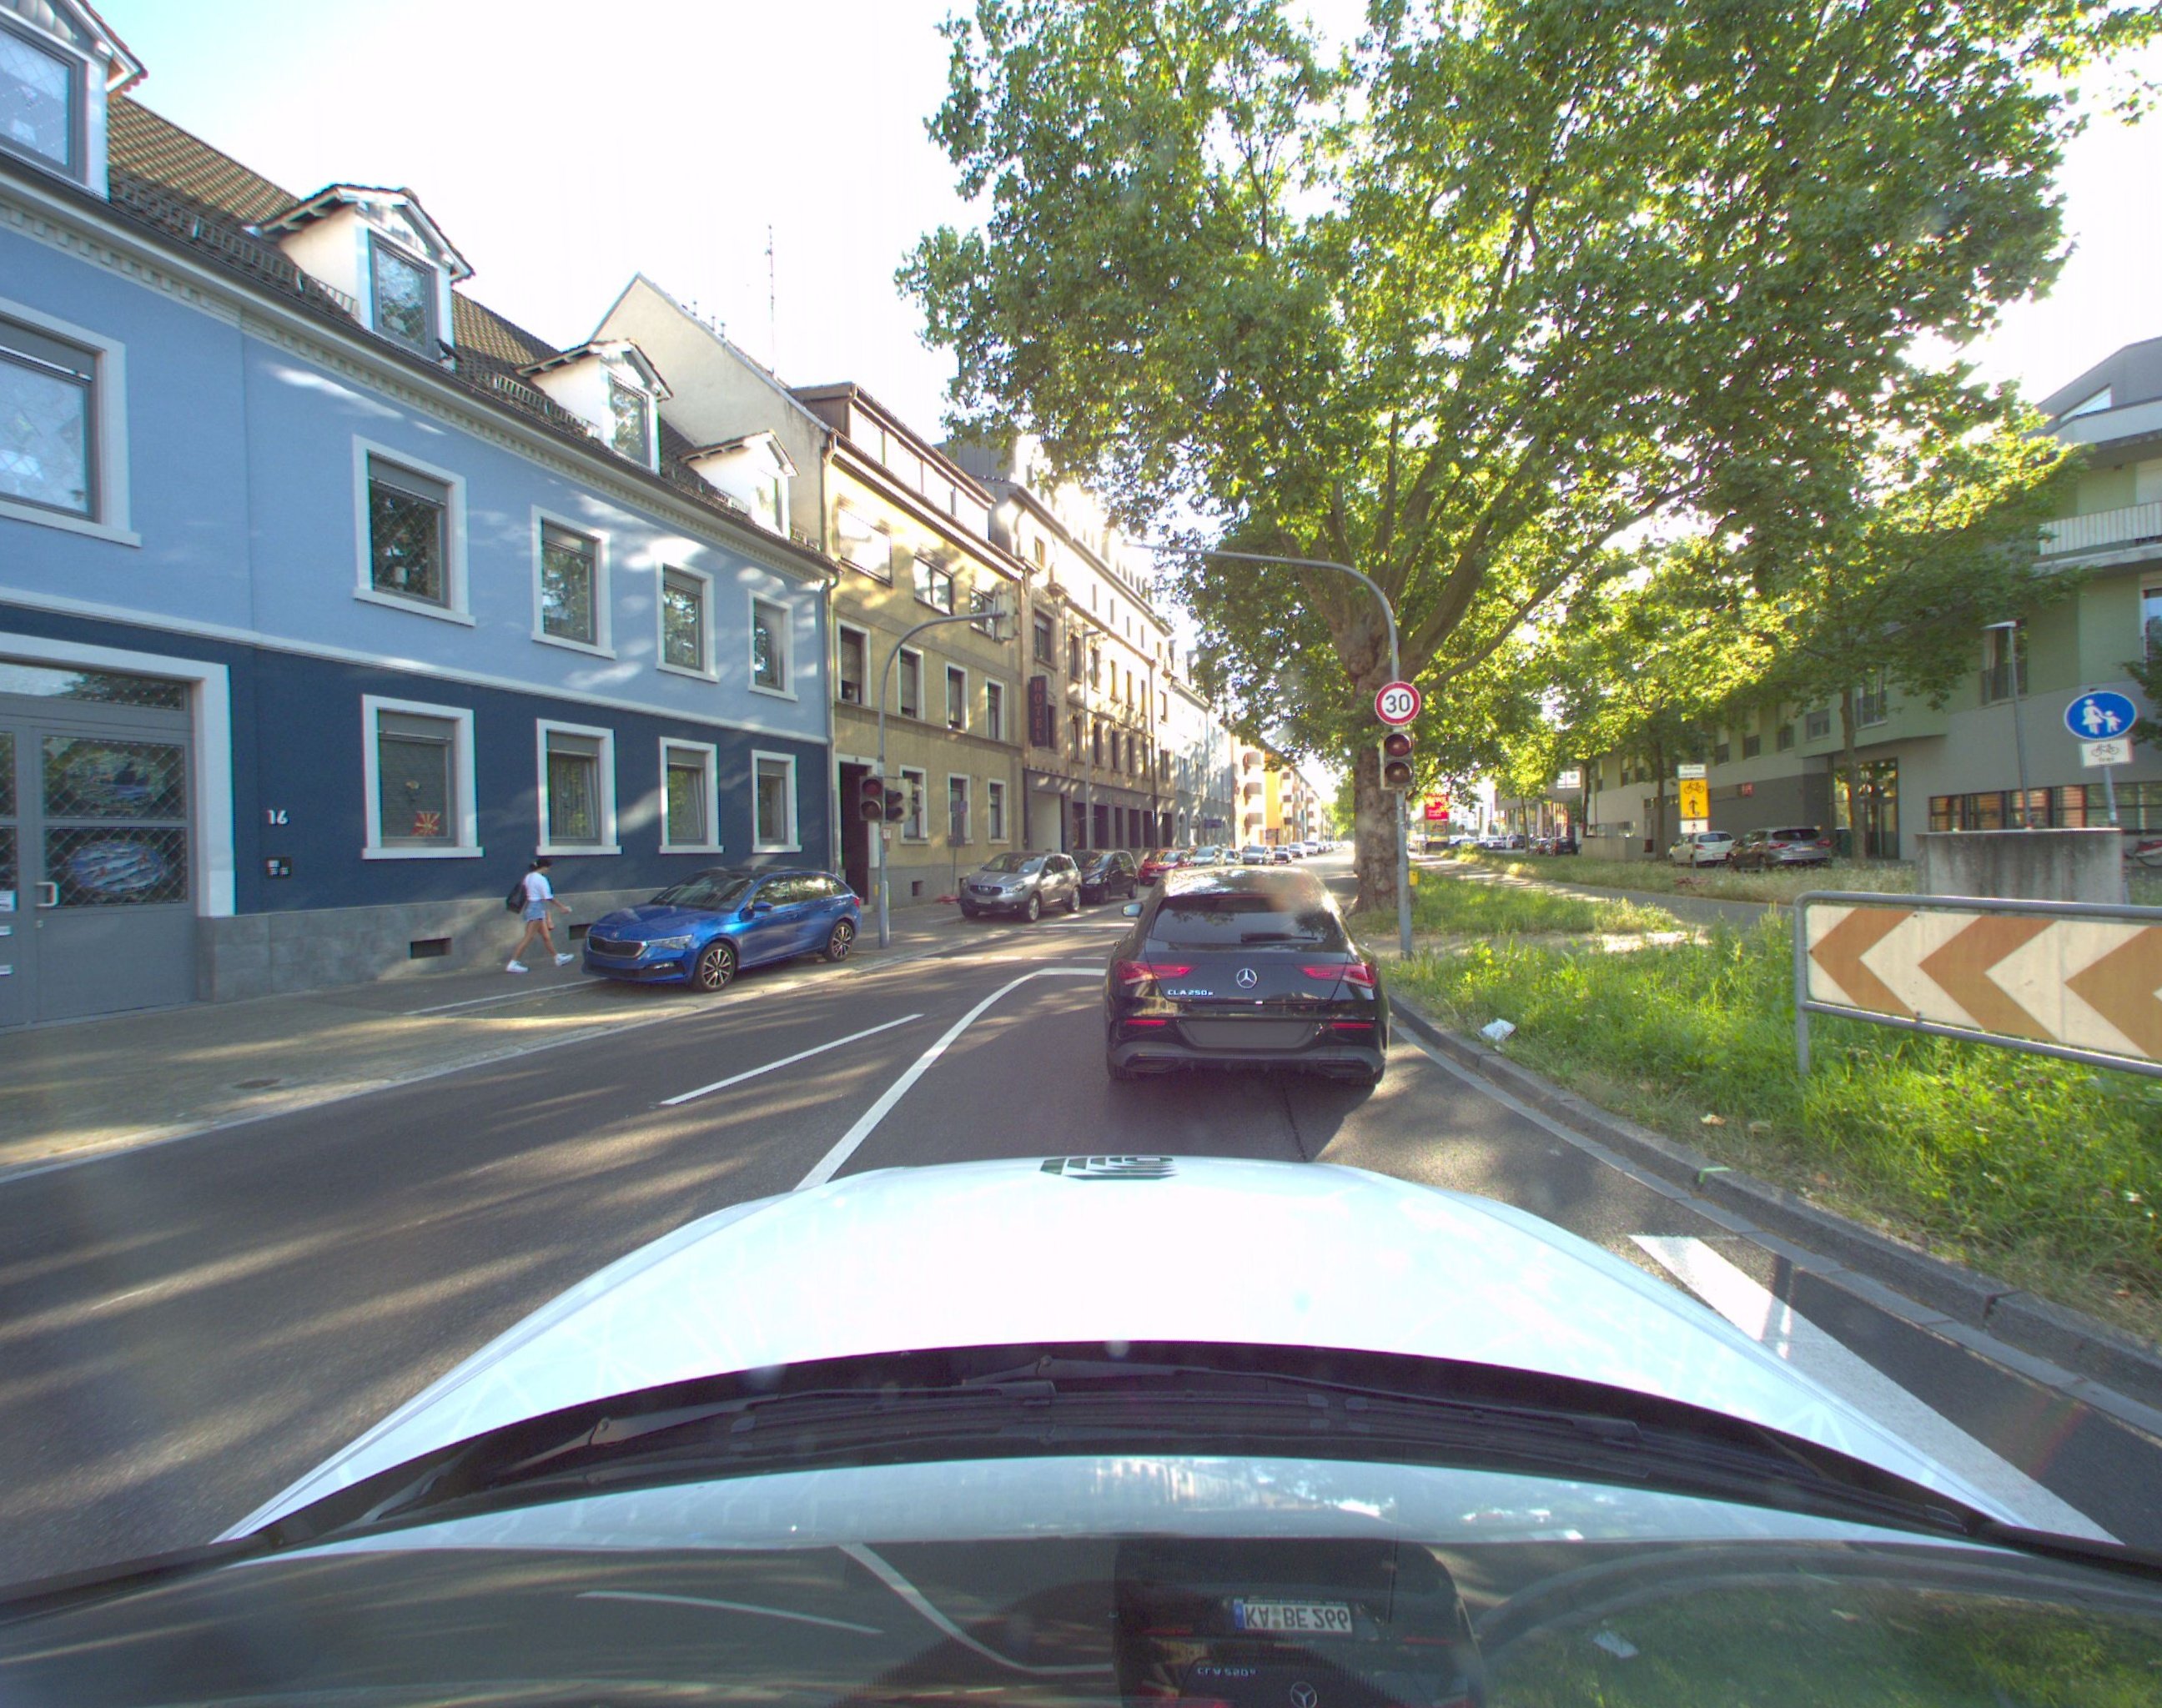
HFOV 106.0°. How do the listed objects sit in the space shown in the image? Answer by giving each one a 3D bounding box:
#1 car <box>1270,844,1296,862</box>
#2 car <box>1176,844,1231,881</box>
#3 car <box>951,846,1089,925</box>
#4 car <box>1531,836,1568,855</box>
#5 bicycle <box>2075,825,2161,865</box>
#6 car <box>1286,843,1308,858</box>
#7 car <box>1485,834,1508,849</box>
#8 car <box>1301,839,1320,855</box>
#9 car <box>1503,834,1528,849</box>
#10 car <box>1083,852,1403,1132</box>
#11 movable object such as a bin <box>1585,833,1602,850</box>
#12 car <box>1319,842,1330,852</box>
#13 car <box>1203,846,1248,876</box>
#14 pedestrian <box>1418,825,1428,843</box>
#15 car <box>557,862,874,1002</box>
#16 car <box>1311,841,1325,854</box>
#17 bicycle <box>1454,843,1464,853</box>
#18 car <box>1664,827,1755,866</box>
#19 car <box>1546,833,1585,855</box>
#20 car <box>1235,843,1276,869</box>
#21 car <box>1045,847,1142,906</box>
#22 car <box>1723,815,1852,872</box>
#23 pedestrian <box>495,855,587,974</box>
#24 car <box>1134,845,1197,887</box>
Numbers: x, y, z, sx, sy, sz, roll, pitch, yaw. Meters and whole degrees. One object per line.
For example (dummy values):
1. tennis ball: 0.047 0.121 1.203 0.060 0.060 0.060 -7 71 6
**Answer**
1. car: 17.199 -0.111 69.191 1.663 1.486 3.620 0 1 21
2. car: 5.804 0.356 38.329 1.663 1.584 4.222 0 1 21
3. car: -1.367 0.669 20.094 1.766 1.672 4.178 0 1 21
4. car: 38.944 -0.730 67.772 1.844 1.468 4.143 -1 1 18
5. bicycle: 27.604 -0.232 21.465 1.659 1.018 0.592 -2 0 39
6. car: 21.637 -0.369 81.536 1.663 1.523 4.042 0 1 21
7. car: 51.008 -1.547 100.008 1.861 1.733 4.200 -2 0 17
8. car: 28.447 -0.931 100.793 1.719 1.906 5.236 0 1 21
9. car: 52.799 -1.555 99.122 1.970 1.733 4.200 -2 0 18
10. car: 1.201 0.738 6.470 1.734 1.443 3.980 0 1 9
11. movable object such as a bin: 45.011 -1.106 71.519 1.181 1.463 1.416 -2 0 31
12. car: 37.962 -1.099 126.974 1.535 1.523 4.024 0 1 18
13. car: 7.929 0.340 44.464 1.663 1.496 3.892 0 1 21
14. pedestrian: 34.596 -2.038 82.335 0.763 1.761 0.665 -3 0 10
15. car: -4.916 0.926 11.705 1.636 1.486 4.284 0 1 19
16. car: 33.000 -0.916 113.215 1.731 1.787 4.571 0 1 18
17. bicycle: 36.715 -0.563 79.121 0.381 1.003 1.488 -2 0 4
18. car: 26.700 -0.331 34.748 1.843 1.542 4.342 -2 0 20
19. car: 36.426 -0.729 61.338 1.843 1.552 3.779 -2 0 20
20. car: 11.653 0.080 54.189 1.892 1.641 4.601 0 1 21
21. car: 0.456 0.601 24.804 1.663 1.604 3.726 0 1 23
22. car: 23.890 -0.357 27.738 1.888 1.771 4.342 -2 0 20
23. pedestrian: -7.590 0.821 11.458 0.697 1.570 0.871 -1 0 39
24. car: 3.566 0.451 33.777 1.663 1.592 3.776 0 1 21
